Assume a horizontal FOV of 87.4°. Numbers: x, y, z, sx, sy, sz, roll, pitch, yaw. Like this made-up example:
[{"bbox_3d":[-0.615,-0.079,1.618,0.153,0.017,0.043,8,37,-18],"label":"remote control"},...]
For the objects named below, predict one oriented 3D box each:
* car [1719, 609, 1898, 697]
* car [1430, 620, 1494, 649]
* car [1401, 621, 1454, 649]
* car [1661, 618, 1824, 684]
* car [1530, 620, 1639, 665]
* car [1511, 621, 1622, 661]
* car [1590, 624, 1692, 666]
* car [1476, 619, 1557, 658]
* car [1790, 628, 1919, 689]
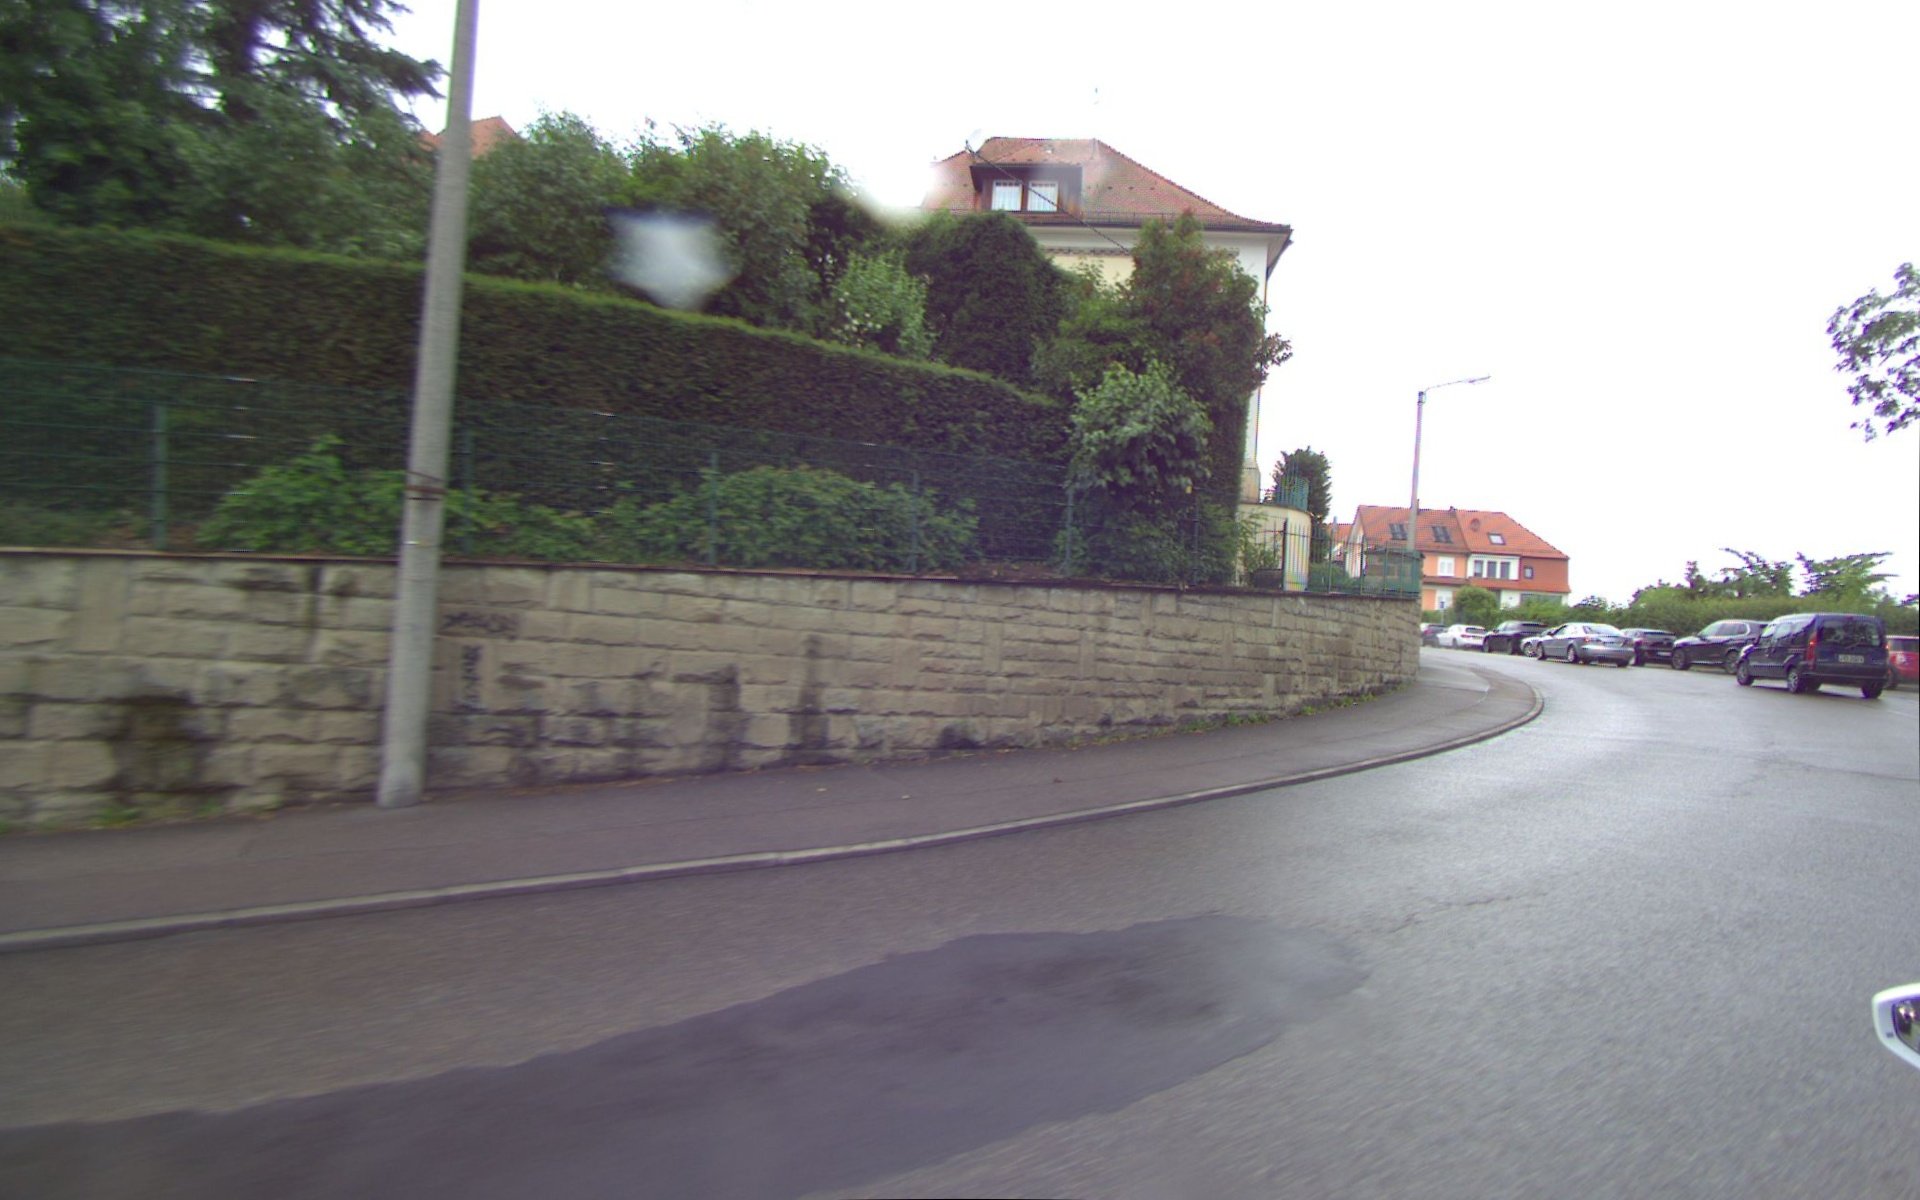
[{"bbox_3d":[20.058,1.207,23.983,1.793,1.907,4.096,0,-1,17],"label":"car"},{"bbox_3d":[28.660,1.924,57.496,1.684,1.424,4.610,5,0,7],"label":"car"},{"bbox_3d":[29.311,2.163,63.074,1.724,1.550,4.208,5,0,7],"label":"car"},{"bbox_3d":[25.691,1.604,33.249,1.992,1.806,4.901,3,0,8],"label":"car"},{"bbox_3d":[21.763,1.476,35.201,1.822,1.477,4.099,0,-2,10],"label":"car"},{"bbox_3d":[27.156,1.809,45.185,1.771,1.459,4.637,4,0,-6],"label":"car"},{"bbox_3d":[26.266,1.716,38.911,1.659,1.440,3.986,3,-1,8],"label":"car"},{"bbox_3d":[27.912,1.882,50.554,1.855,1.684,4.550,5,0,6],"label":"car"},{"bbox_3d":[25.060,1.579,27.589,1.643,1.432,3.744,3,0,6],"label":"car"}]
